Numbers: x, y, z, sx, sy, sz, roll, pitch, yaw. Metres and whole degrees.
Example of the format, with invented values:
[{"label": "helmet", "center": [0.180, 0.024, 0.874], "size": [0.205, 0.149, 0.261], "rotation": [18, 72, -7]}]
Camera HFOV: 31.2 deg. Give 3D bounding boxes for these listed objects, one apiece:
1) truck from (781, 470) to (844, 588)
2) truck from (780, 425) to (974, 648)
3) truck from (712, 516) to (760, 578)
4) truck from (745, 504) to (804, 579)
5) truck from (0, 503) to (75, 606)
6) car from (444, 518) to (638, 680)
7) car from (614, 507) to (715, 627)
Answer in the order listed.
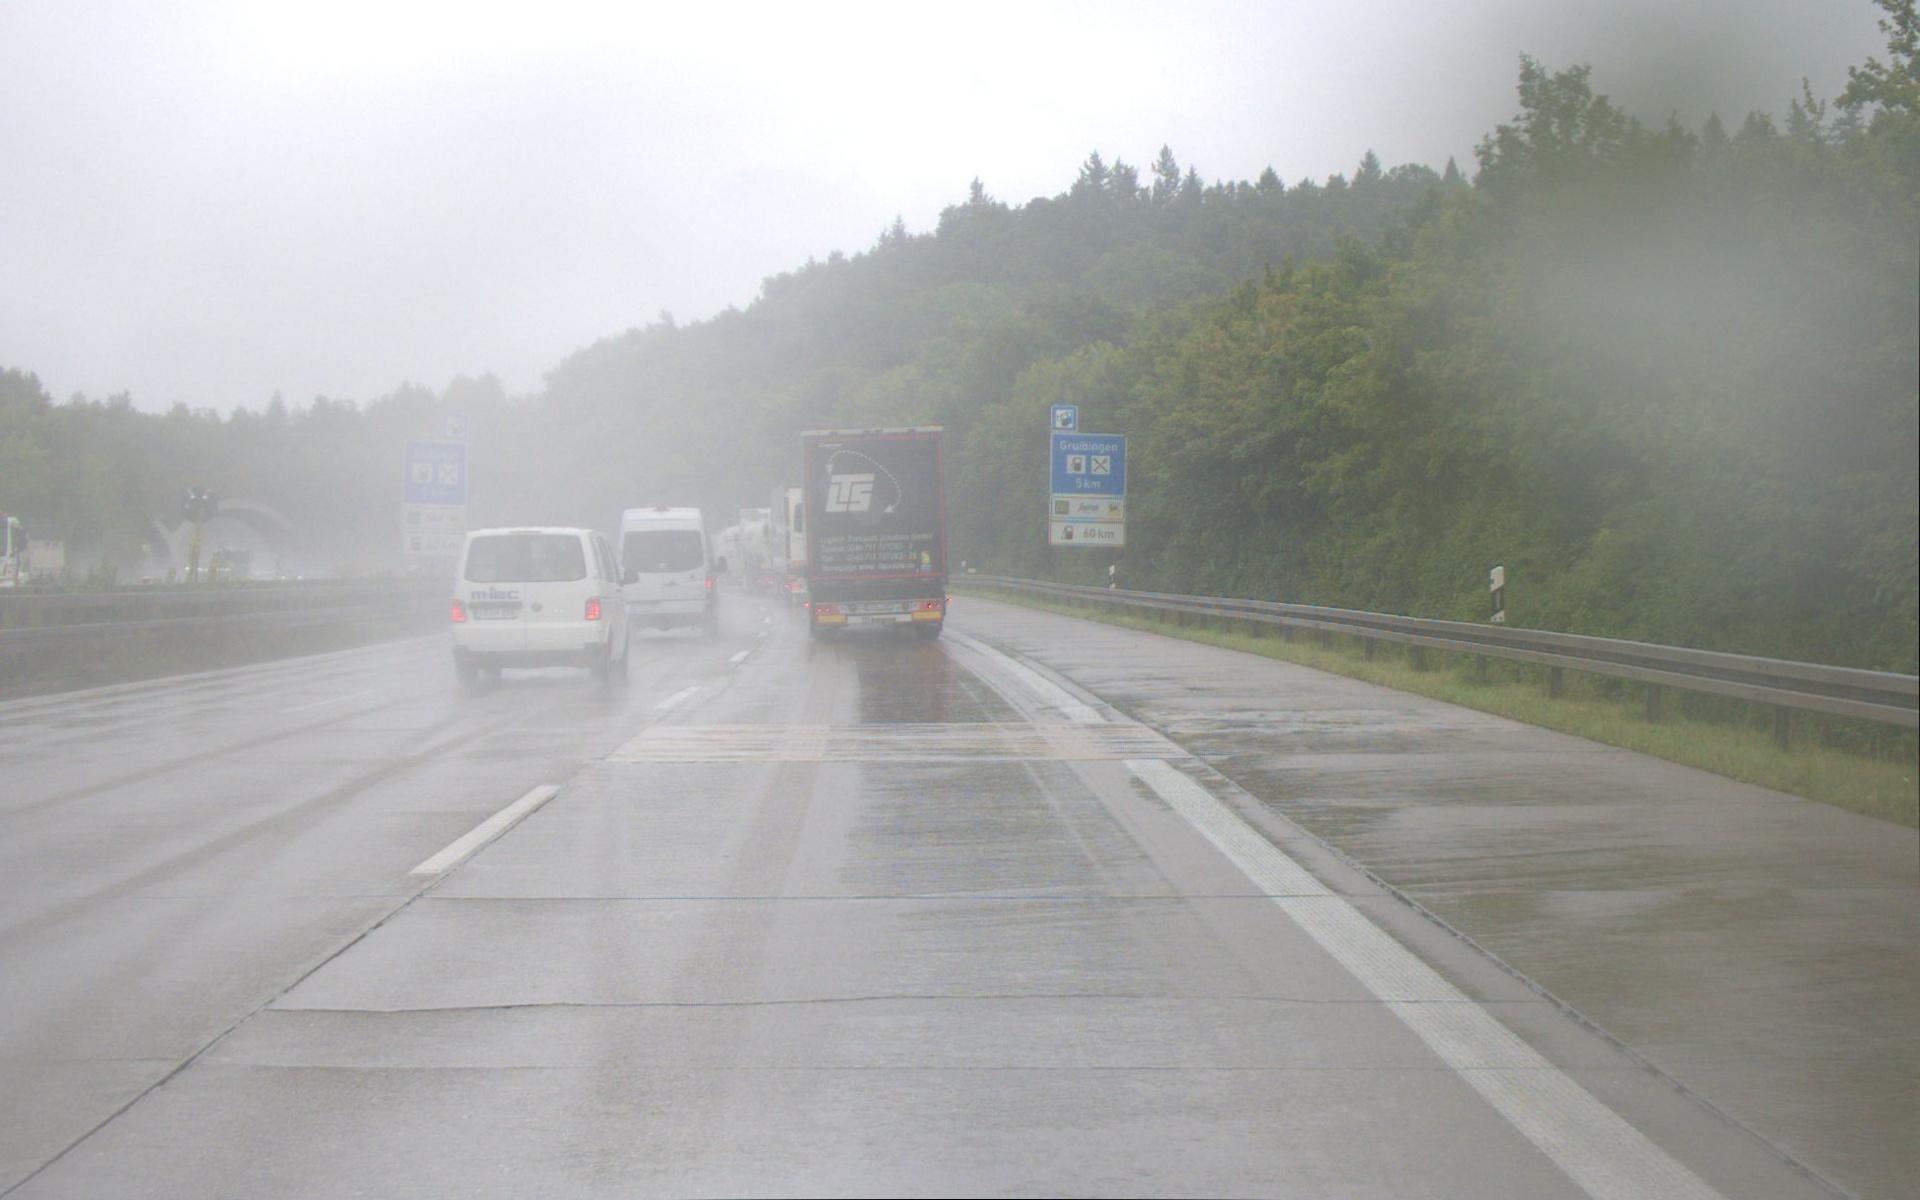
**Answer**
[{"label": "truck", "center": [-4.883, -2.342, 114.388], "size": [1.993, 3.793, 6.734], "rotation": [0, 1, -2]}, {"label": "truck", "center": [-1.622, -1.356, 66.728], "size": [3.385, 3.954, 8.668], "rotation": [-2, 3, -2]}, {"label": "truck", "center": [-11.711, -2.763, 179.052], "size": [1.993, 3.159, 6.735], "rotation": [0, 1, -8]}, {"label": "truck", "center": [-8.040, -2.525, 148.516], "size": [1.993, 3.159, 6.735], "rotation": [0, 1, -8]}, {"label": "truck", "center": [-29.015, -1.390, 104.457], "size": [2.297, 3.008, 7.923], "rotation": [1, 1, -1]}, {"label": "car", "center": [-5.183, -0.043, 43.153], "size": [1.899, 1.888, 5.043], "rotation": [1, 1, -1]}, {"label": "car", "center": [-6.011, -0.684, 69.456], "size": [1.899, 2.326, 5.252], "rotation": [0, 1, -6]}]
